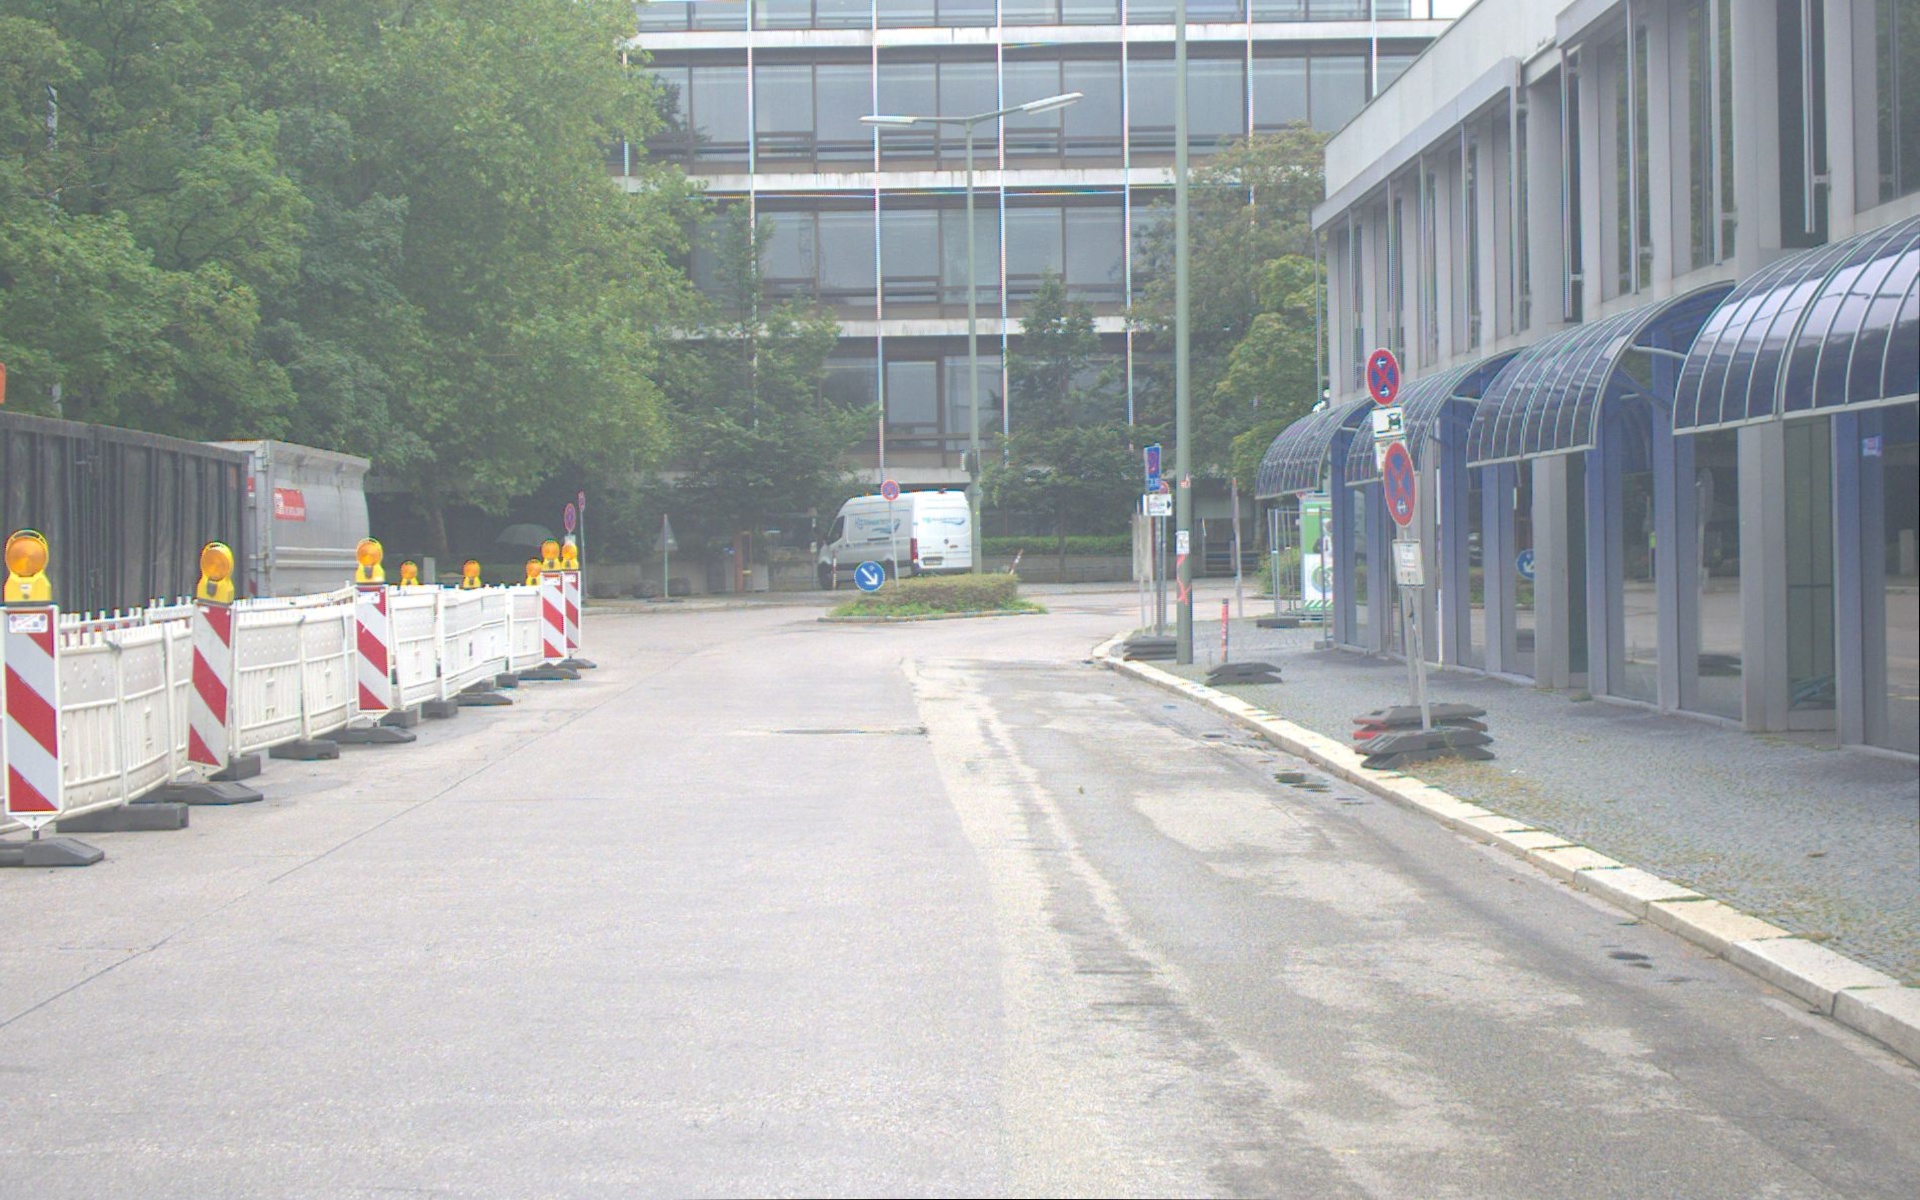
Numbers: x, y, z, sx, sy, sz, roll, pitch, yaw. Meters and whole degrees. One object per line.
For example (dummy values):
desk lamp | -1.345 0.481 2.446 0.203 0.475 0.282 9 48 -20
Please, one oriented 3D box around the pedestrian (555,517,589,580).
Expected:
pedestrian | -10.520 -1.398 93.267 0.741 1.671 0.682 -1 1 -20

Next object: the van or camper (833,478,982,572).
van or camper | -1.473 -2.064 94.597 2.085 2.483 5.068 -1 1 -26
